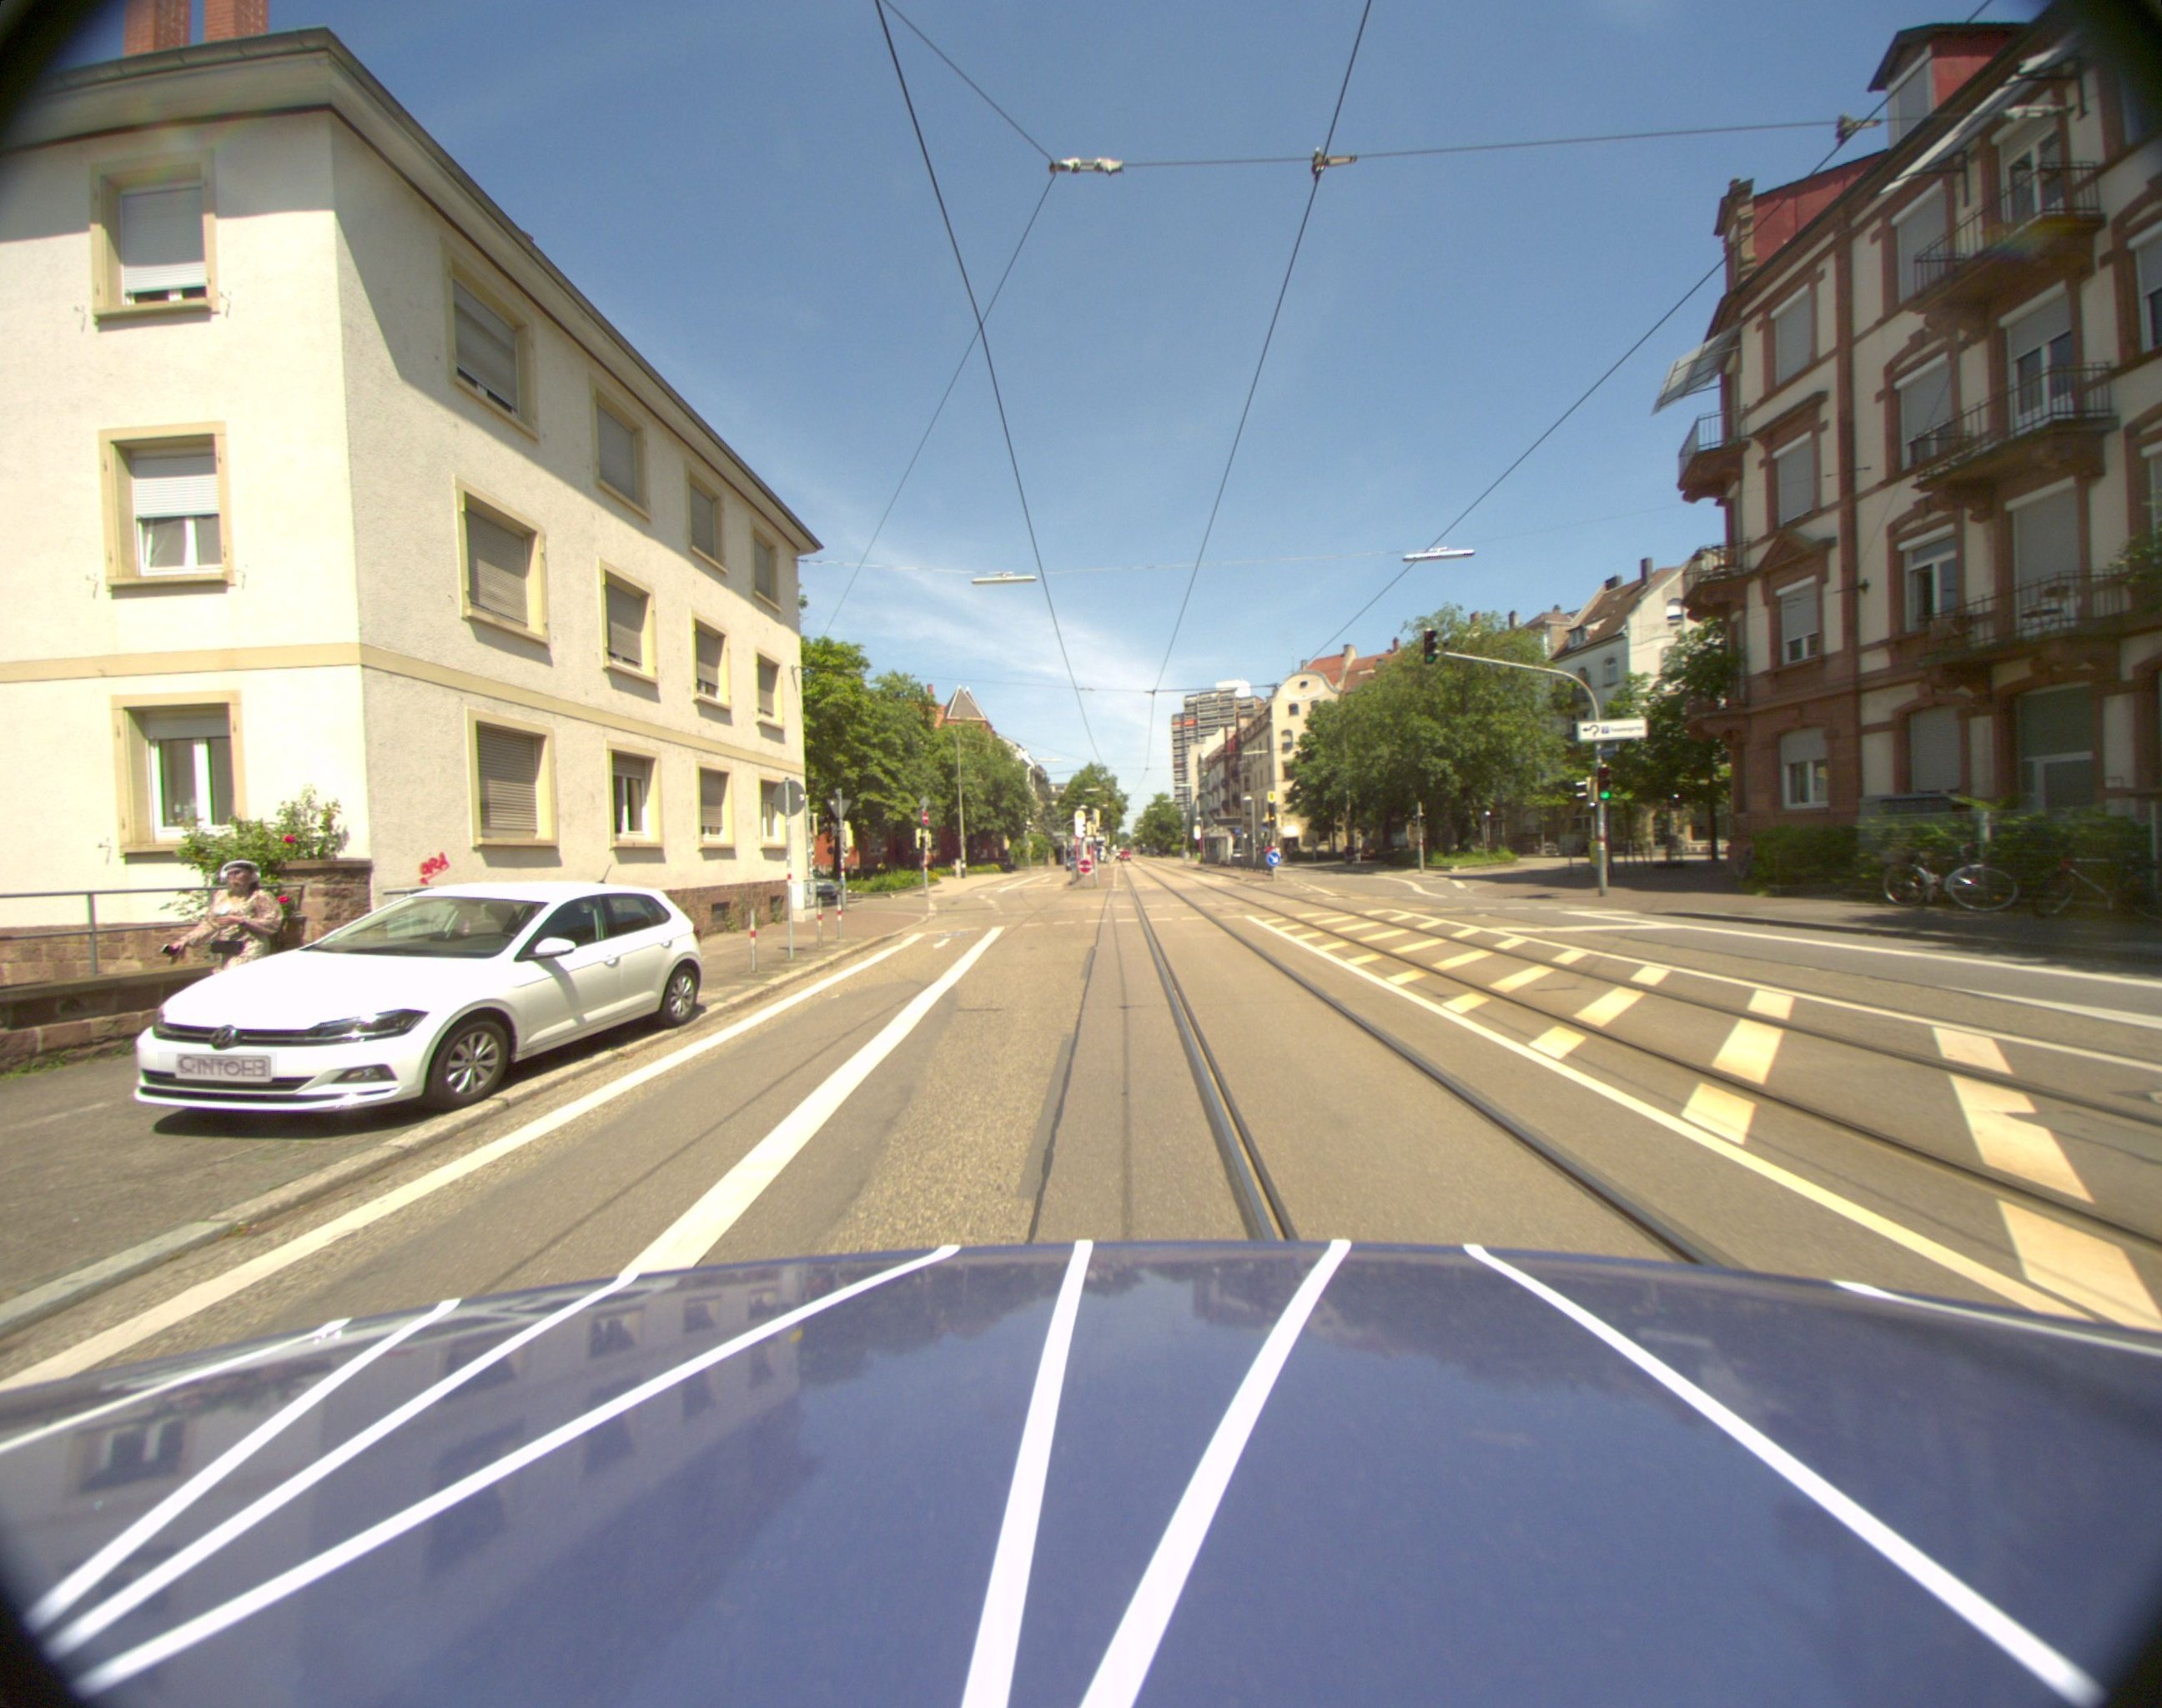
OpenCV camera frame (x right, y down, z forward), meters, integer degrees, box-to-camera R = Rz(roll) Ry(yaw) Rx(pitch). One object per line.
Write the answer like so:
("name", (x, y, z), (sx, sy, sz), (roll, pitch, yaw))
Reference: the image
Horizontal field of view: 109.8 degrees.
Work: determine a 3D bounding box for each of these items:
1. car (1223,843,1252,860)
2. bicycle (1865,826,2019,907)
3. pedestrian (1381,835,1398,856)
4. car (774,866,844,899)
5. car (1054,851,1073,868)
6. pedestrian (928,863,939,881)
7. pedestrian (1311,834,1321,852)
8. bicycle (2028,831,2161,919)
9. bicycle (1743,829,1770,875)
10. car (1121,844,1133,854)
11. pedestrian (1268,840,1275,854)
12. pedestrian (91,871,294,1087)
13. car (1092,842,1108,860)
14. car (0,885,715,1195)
("car", (12.927, -0.192, 62.994), (1.696, 1.302, 3.849), (-3, 0, 3))
("bicycle", (13.411, 0.172, 11.915), (0.574, 1.162, 1.716), (-3, 1, 6))
("pedestrian", (20.001, -0.570, 49.256), (0.822, 1.309, 0.652), (-2, 1, 9))
("car", (-12.668, 1.310, 35.328), (1.699, 1.437, 3.617), (0, -1, -44))
("car", (-1.726, 0.535, 76.187), (1.737, 1.543, 4.424), (-2, 0, 1))
("pedestrian", (-9.875, 1.201, 51.016), (0.652, 1.143, 0.642), (-3, 1, -13))
("pedestrian", (18.977, -0.910, 61.344), (0.537, 1.433, 0.520), (-2, 1, -7))
("bicycle", (13.328, 0.240, 9.763), (0.460, 1.050, 1.565), (-3, 1, 6))
("bicycle", (17.207, -0.075, 19.366), (0.465, 1.101, 1.927), (-2, 1, 41))
("car", (7.644, -0.786, 125.743), (1.737, 1.543, 4.424), (-2, 0, 1))
("pedestrian", (19.703, -0.676, 78.683), (0.537, 1.433, 0.520), (-2, 1, -7))
("pedestrian", (-7.377, 0.994, 6.352), (0.699, 1.660, 0.756), (-3, 1, 1))
("car", (2.820, -0.522, 114.127), (2.236, 2.478, 5.266), (-2, 1, 1))
("car", (-4.940, 1.092, 6.190), (1.781, 1.402, 4.156), (2, 1, 2))
